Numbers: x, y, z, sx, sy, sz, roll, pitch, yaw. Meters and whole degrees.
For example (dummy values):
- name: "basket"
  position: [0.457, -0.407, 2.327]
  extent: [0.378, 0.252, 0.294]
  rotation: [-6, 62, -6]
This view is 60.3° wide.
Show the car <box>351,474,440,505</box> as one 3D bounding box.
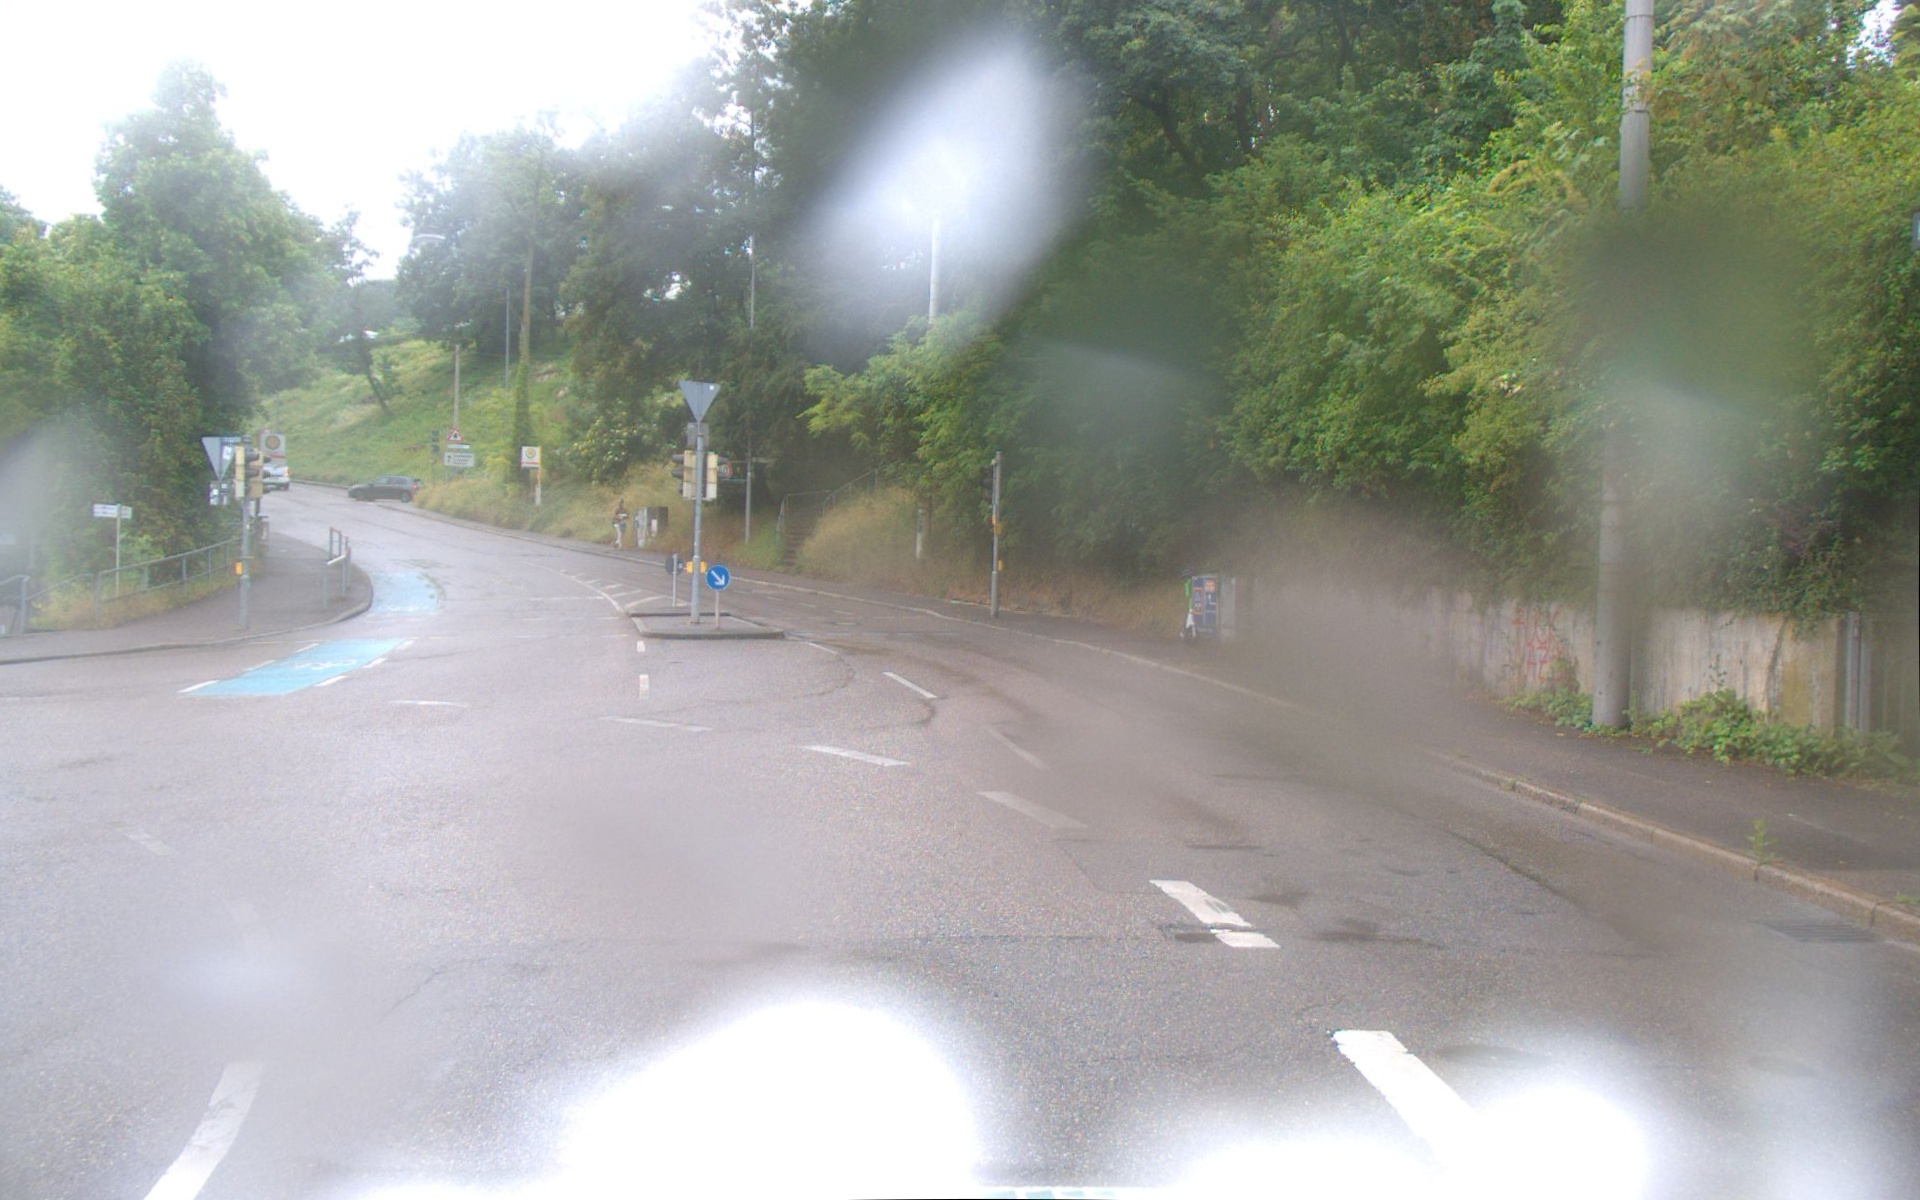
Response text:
- name: "car"
  position: [-31.744, -6.204, 93.120]
  extent: [4.298, 1.538, 1.964]
  rotation: [2, 3, 3]

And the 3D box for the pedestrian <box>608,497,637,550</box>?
- name: "pedestrian"
  position: [-11.757, -2.652, 57.593]
  extent: [0.867, 1.767, 0.861]
  rotation: [1, -1, -18]

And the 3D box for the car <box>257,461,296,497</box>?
- name: "car"
  position: [-43.664, -7.729, 105.800]
  extent: [2.035, 2.041, 4.788]
  rotation: [0, 1, -20]

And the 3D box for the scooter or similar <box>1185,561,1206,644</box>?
- name: "scooter or similar"
  position: [3.774, 0.031, 26.528]
  extent: [0.315, 1.302, 0.752]
  rotation: [0, 3, 7]
